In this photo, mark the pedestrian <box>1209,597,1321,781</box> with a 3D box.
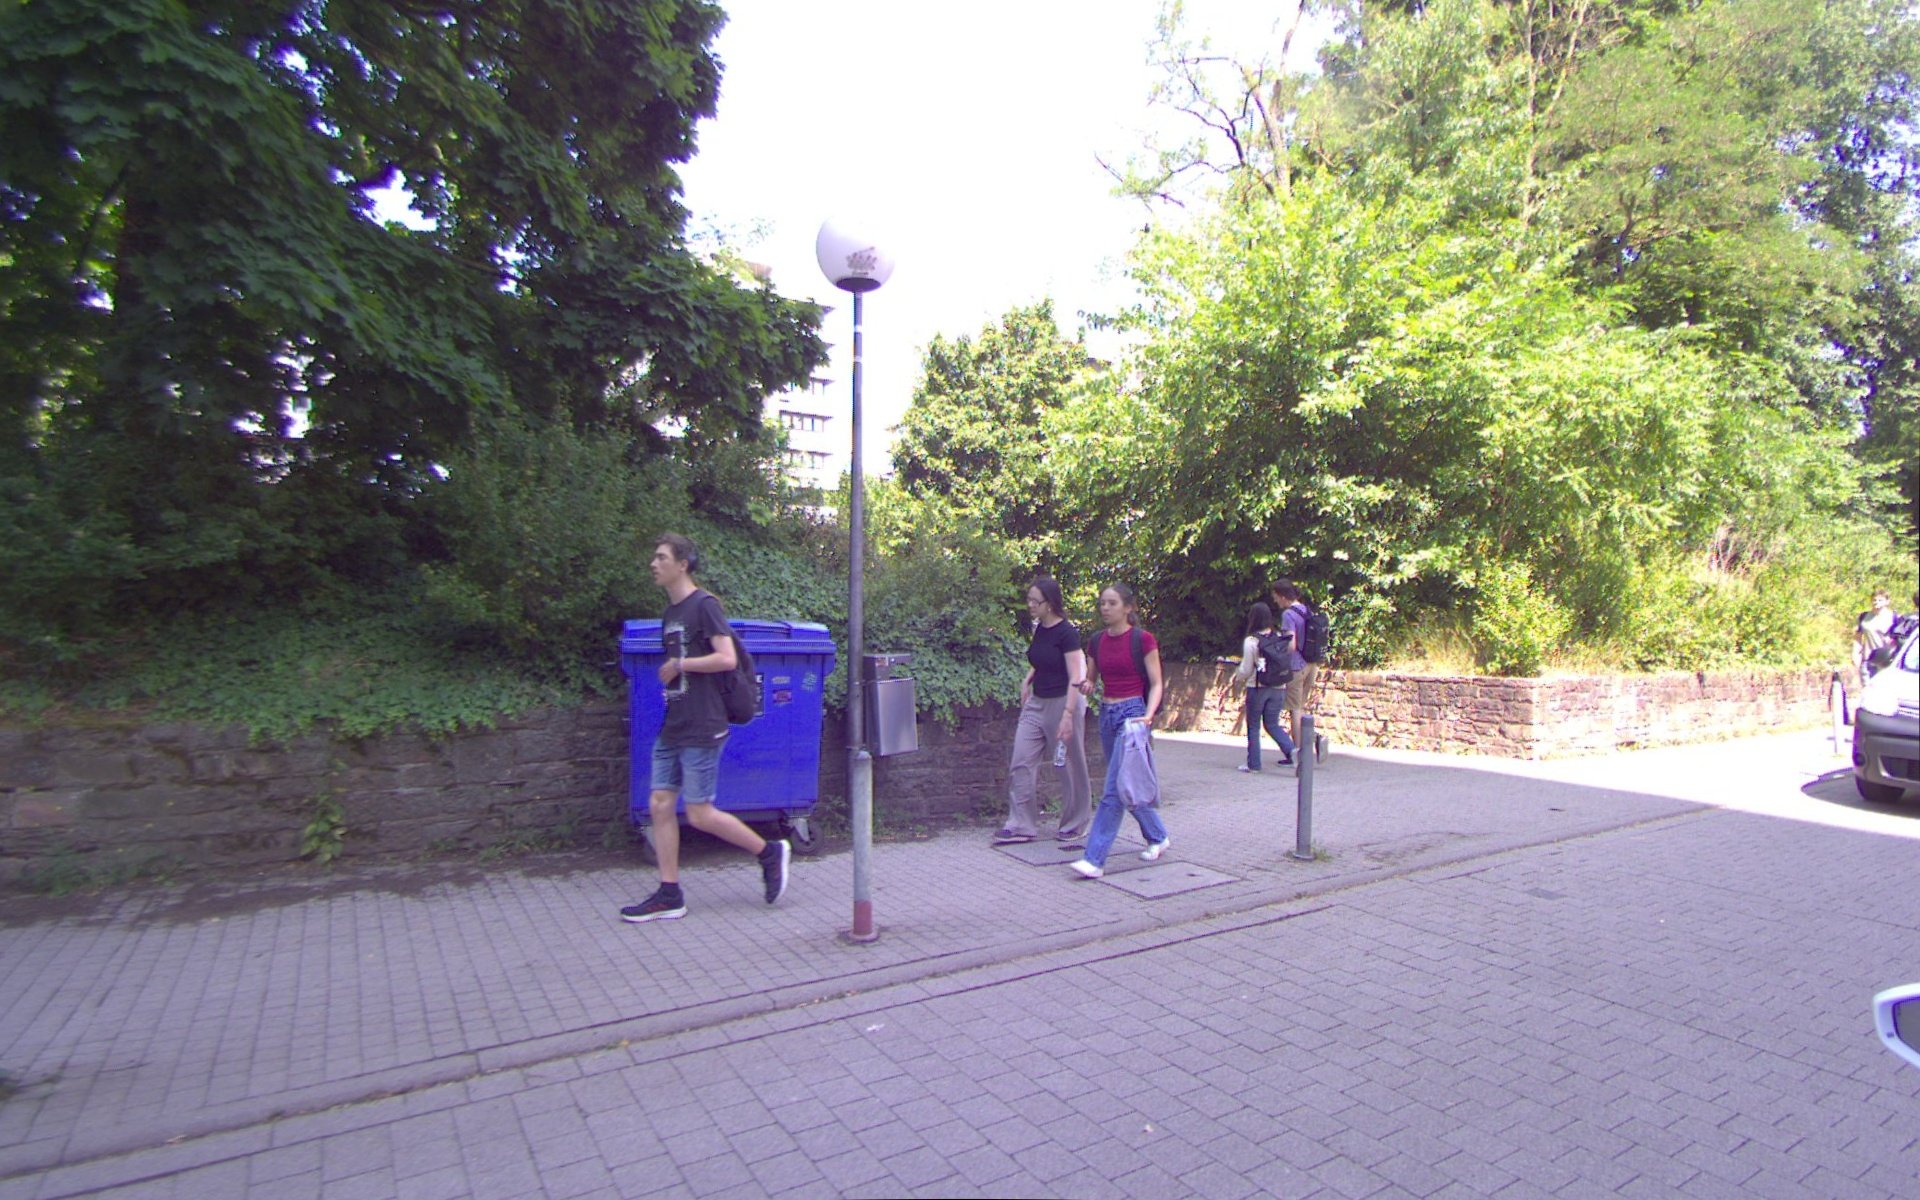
[{"bbox_3d":[2.883,0.815,9.513,0.678,1.642,0.776,2,-3,-35],"label":"pedestrian"}]

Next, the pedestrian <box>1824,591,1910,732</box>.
[{"bbox_3d":[12.493,0.829,13.838,0.774,1.868,0.679,2,-1,-32],"label":"pedestrian"}]

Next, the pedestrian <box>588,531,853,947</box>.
[{"bbox_3d":[-1.143,0.599,4.815,1.011,1.751,0.677,2,-1,-37],"label":"pedestrian"}]

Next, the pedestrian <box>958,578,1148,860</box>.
[{"bbox_3d":[0.598,0.706,6.419,0.970,1.642,0.677,2,-1,-37],"label":"pedestrian"}]

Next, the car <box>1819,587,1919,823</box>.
[{"bbox_3d":[9.277,0.827,8.523,4.431,1.785,1.781,1,-1,-32],"label":"car"}]

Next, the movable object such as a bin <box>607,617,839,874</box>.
[{"bbox_3d":[-1.420,0.802,5.961,1.221,1.354,0.707,1,2,-23],"label":"movable object such as a bin"}]

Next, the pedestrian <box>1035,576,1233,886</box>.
[{"bbox_3d":[1.019,0.707,5.876,0.905,1.642,0.677,2,-1,-37],"label":"pedestrian"}]

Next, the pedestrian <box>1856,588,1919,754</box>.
[{"bbox_3d":[10.982,0.808,11.647,0.774,1.868,0.679,2,-1,-32],"label":"pedestrian"}]

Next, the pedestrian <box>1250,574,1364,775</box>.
[{"bbox_3d":[3.405,0.713,9.876,0.678,1.868,0.820,2,-3,-35],"label":"pedestrian"}]
